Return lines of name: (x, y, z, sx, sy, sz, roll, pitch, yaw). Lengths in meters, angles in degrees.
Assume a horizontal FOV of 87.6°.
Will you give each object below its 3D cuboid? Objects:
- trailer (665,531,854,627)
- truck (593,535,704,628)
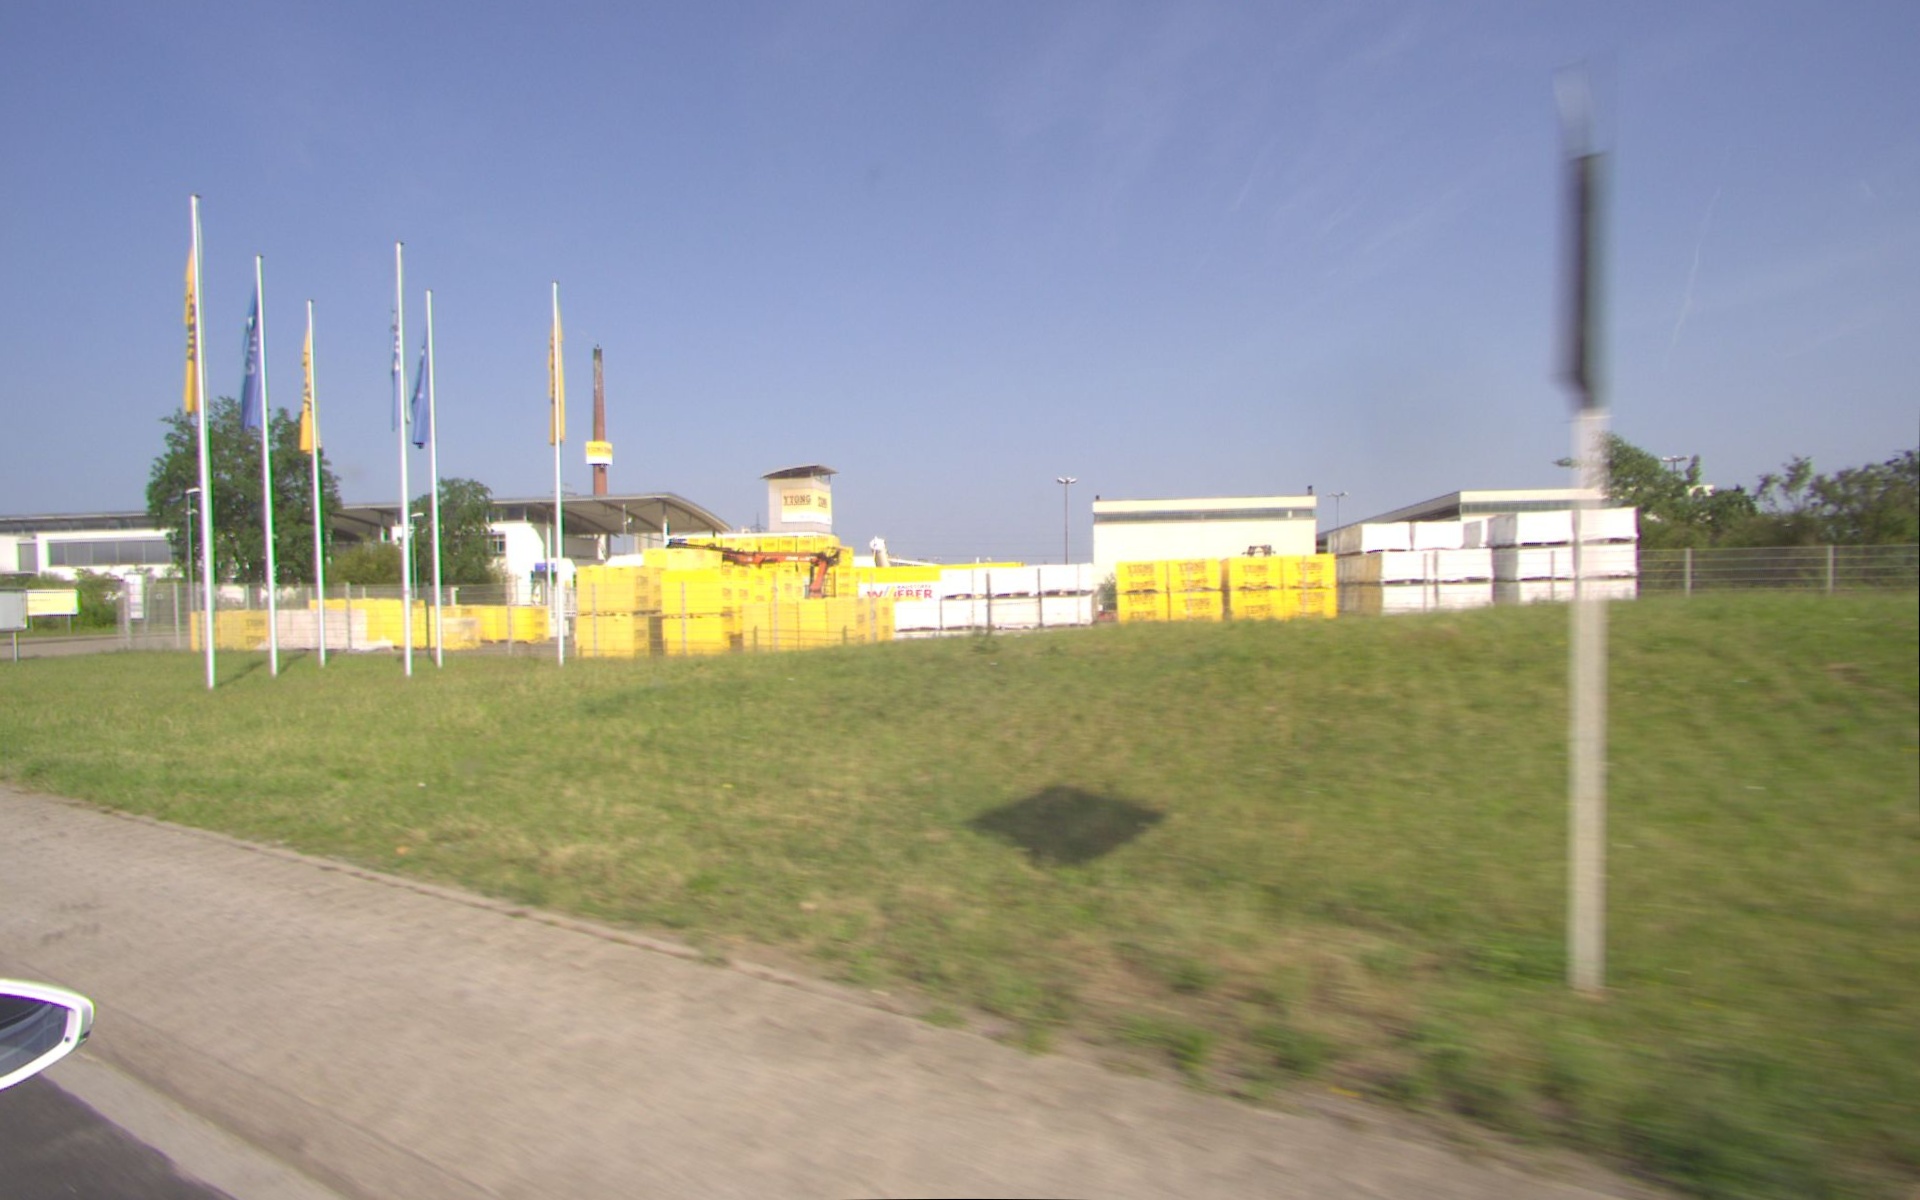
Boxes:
trailer: (-8.604, -0.806, 43.220, 7.652, 3.925, 2.485, 0, -1, 10)
truck: (-13.676, -0.760, 44.141, 3.924, 3.925, 2.545, 0, -1, 10)
